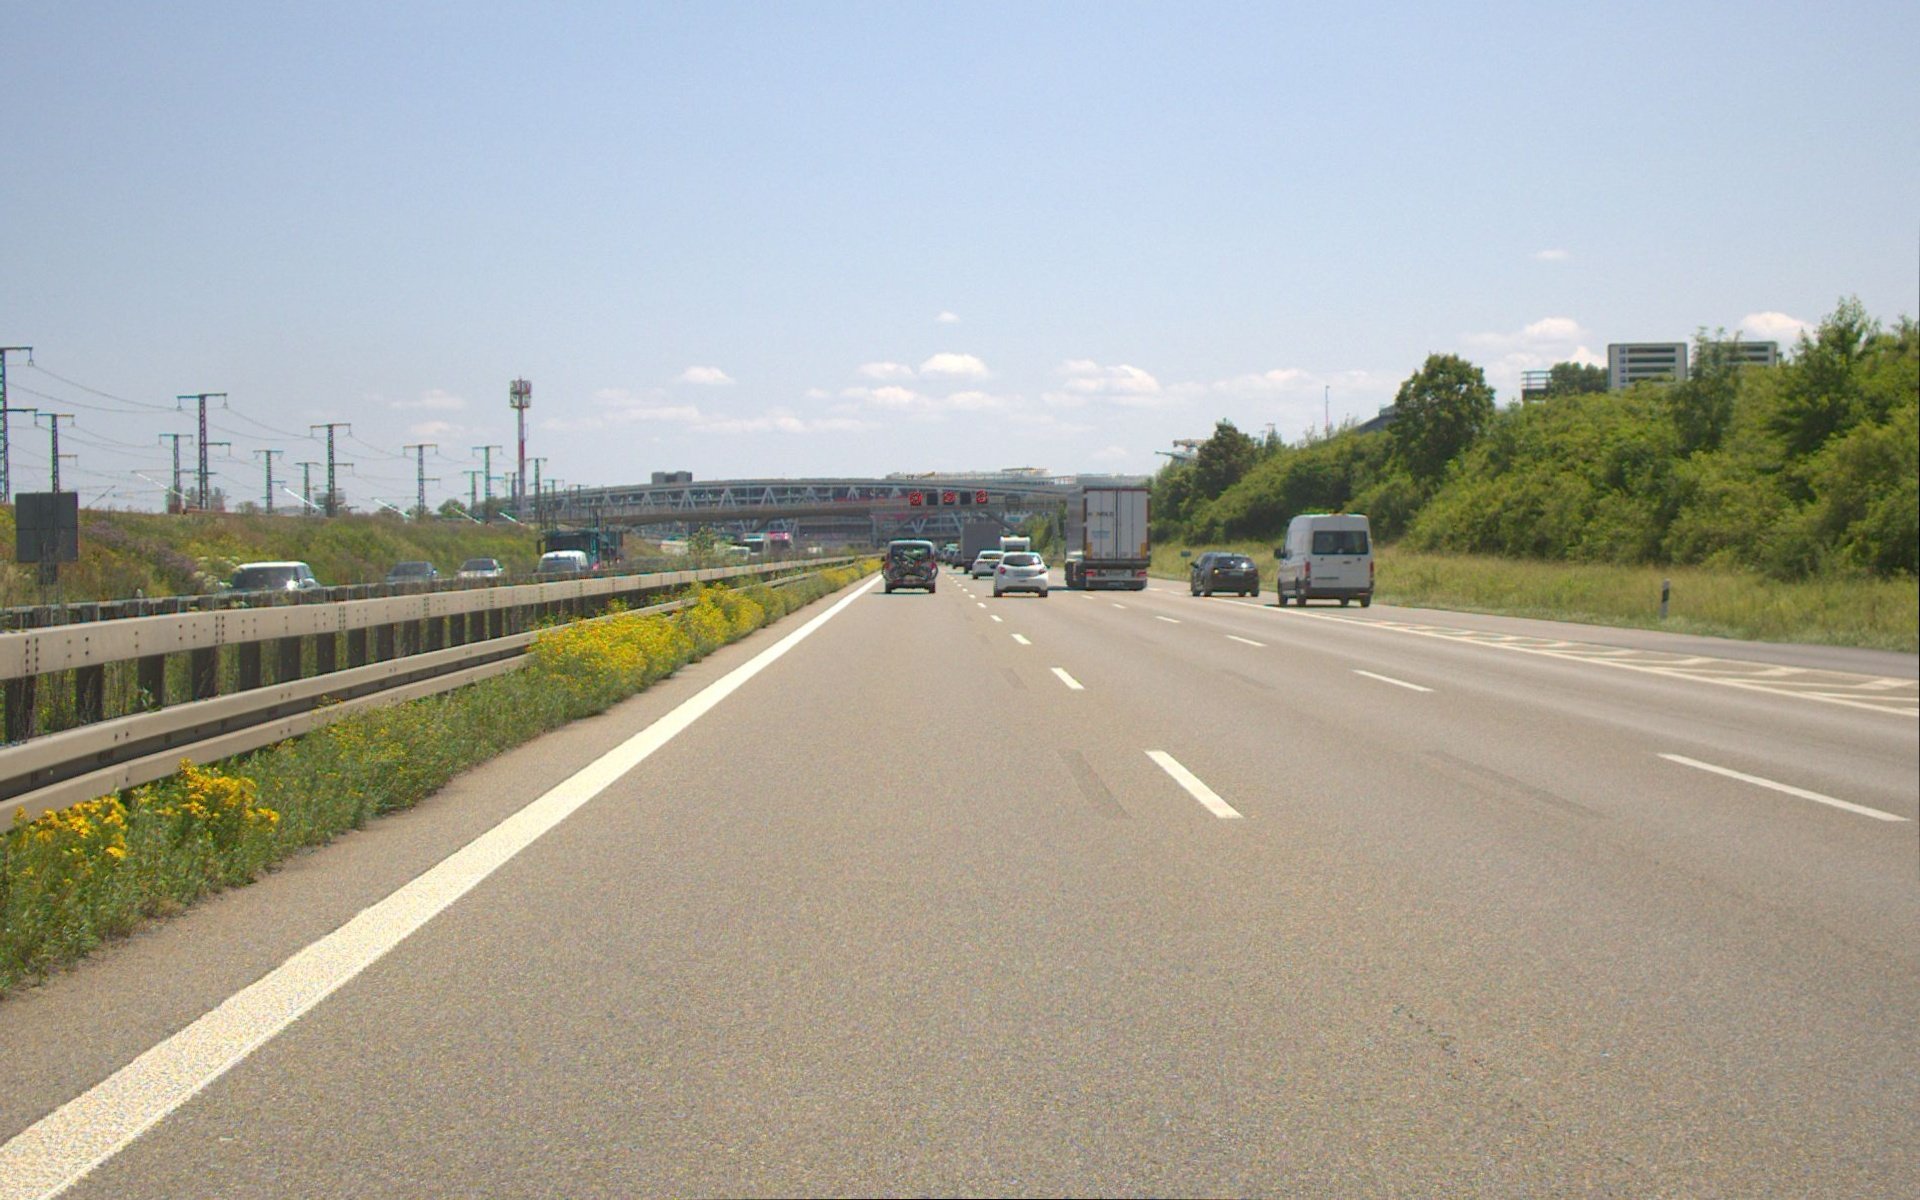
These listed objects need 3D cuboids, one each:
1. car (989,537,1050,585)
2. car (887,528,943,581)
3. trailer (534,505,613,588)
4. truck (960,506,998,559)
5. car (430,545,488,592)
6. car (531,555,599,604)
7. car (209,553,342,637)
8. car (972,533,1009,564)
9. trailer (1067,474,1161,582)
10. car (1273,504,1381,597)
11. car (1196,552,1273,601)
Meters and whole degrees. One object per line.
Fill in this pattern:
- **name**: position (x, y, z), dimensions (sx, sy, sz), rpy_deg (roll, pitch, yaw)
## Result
- **car**: position (1.952, -1.257, 111.619), dimensions (1.881, 1.521, 4.000), rpy_deg (1, 0, 2)
- **car**: position (-1.561, -1.574, 119.742), dimensions (1.880, 1.769, 4.000), rpy_deg (0, 0, 0)
- **trailer**: position (-18.347, -2.541, 163.743), dimensions (3.050, 3.854, 7.204), rpy_deg (0, 1, -1)
- **truck**: position (1.227, -4.352, 223.296), dimensions (2.355, 3.404, 6.057), rpy_deg (0, 1, 0)
- **car**: position (-22.989, -1.436, 158.005), dimensions (1.993, 2.007, 4.495), rpy_deg (-2, 0, 0)
- **car**: position (-13.993, -0.740, 122.033), dimensions (1.920, 1.605, 5.397), rpy_deg (-2, 1, -2)
- **car**: position (-14.004, -0.122, 70.512), dimensions (1.920, 1.605, 4.000), rpy_deg (-2, 1, 0)
- **car**: position (1.572, -2.655, 178.209), dimensions (1.881, 1.521, 4.000), rpy_deg (1, 0, 0)
- **trailer**: position (6.003, -2.814, 135.568), dimensions (3.177, 4.045, 9.440), rpy_deg (-1, 1, 0)
- **car**: position (10.241, -1.395, 96.309), dimensions (2.274, 2.519, 5.400), rpy_deg (0, 1, -2)
- **car**: position (9.094, -0.761, 114.102), dimensions (1.993, 1.503, 4.000), rpy_deg (2, 0, -3)
